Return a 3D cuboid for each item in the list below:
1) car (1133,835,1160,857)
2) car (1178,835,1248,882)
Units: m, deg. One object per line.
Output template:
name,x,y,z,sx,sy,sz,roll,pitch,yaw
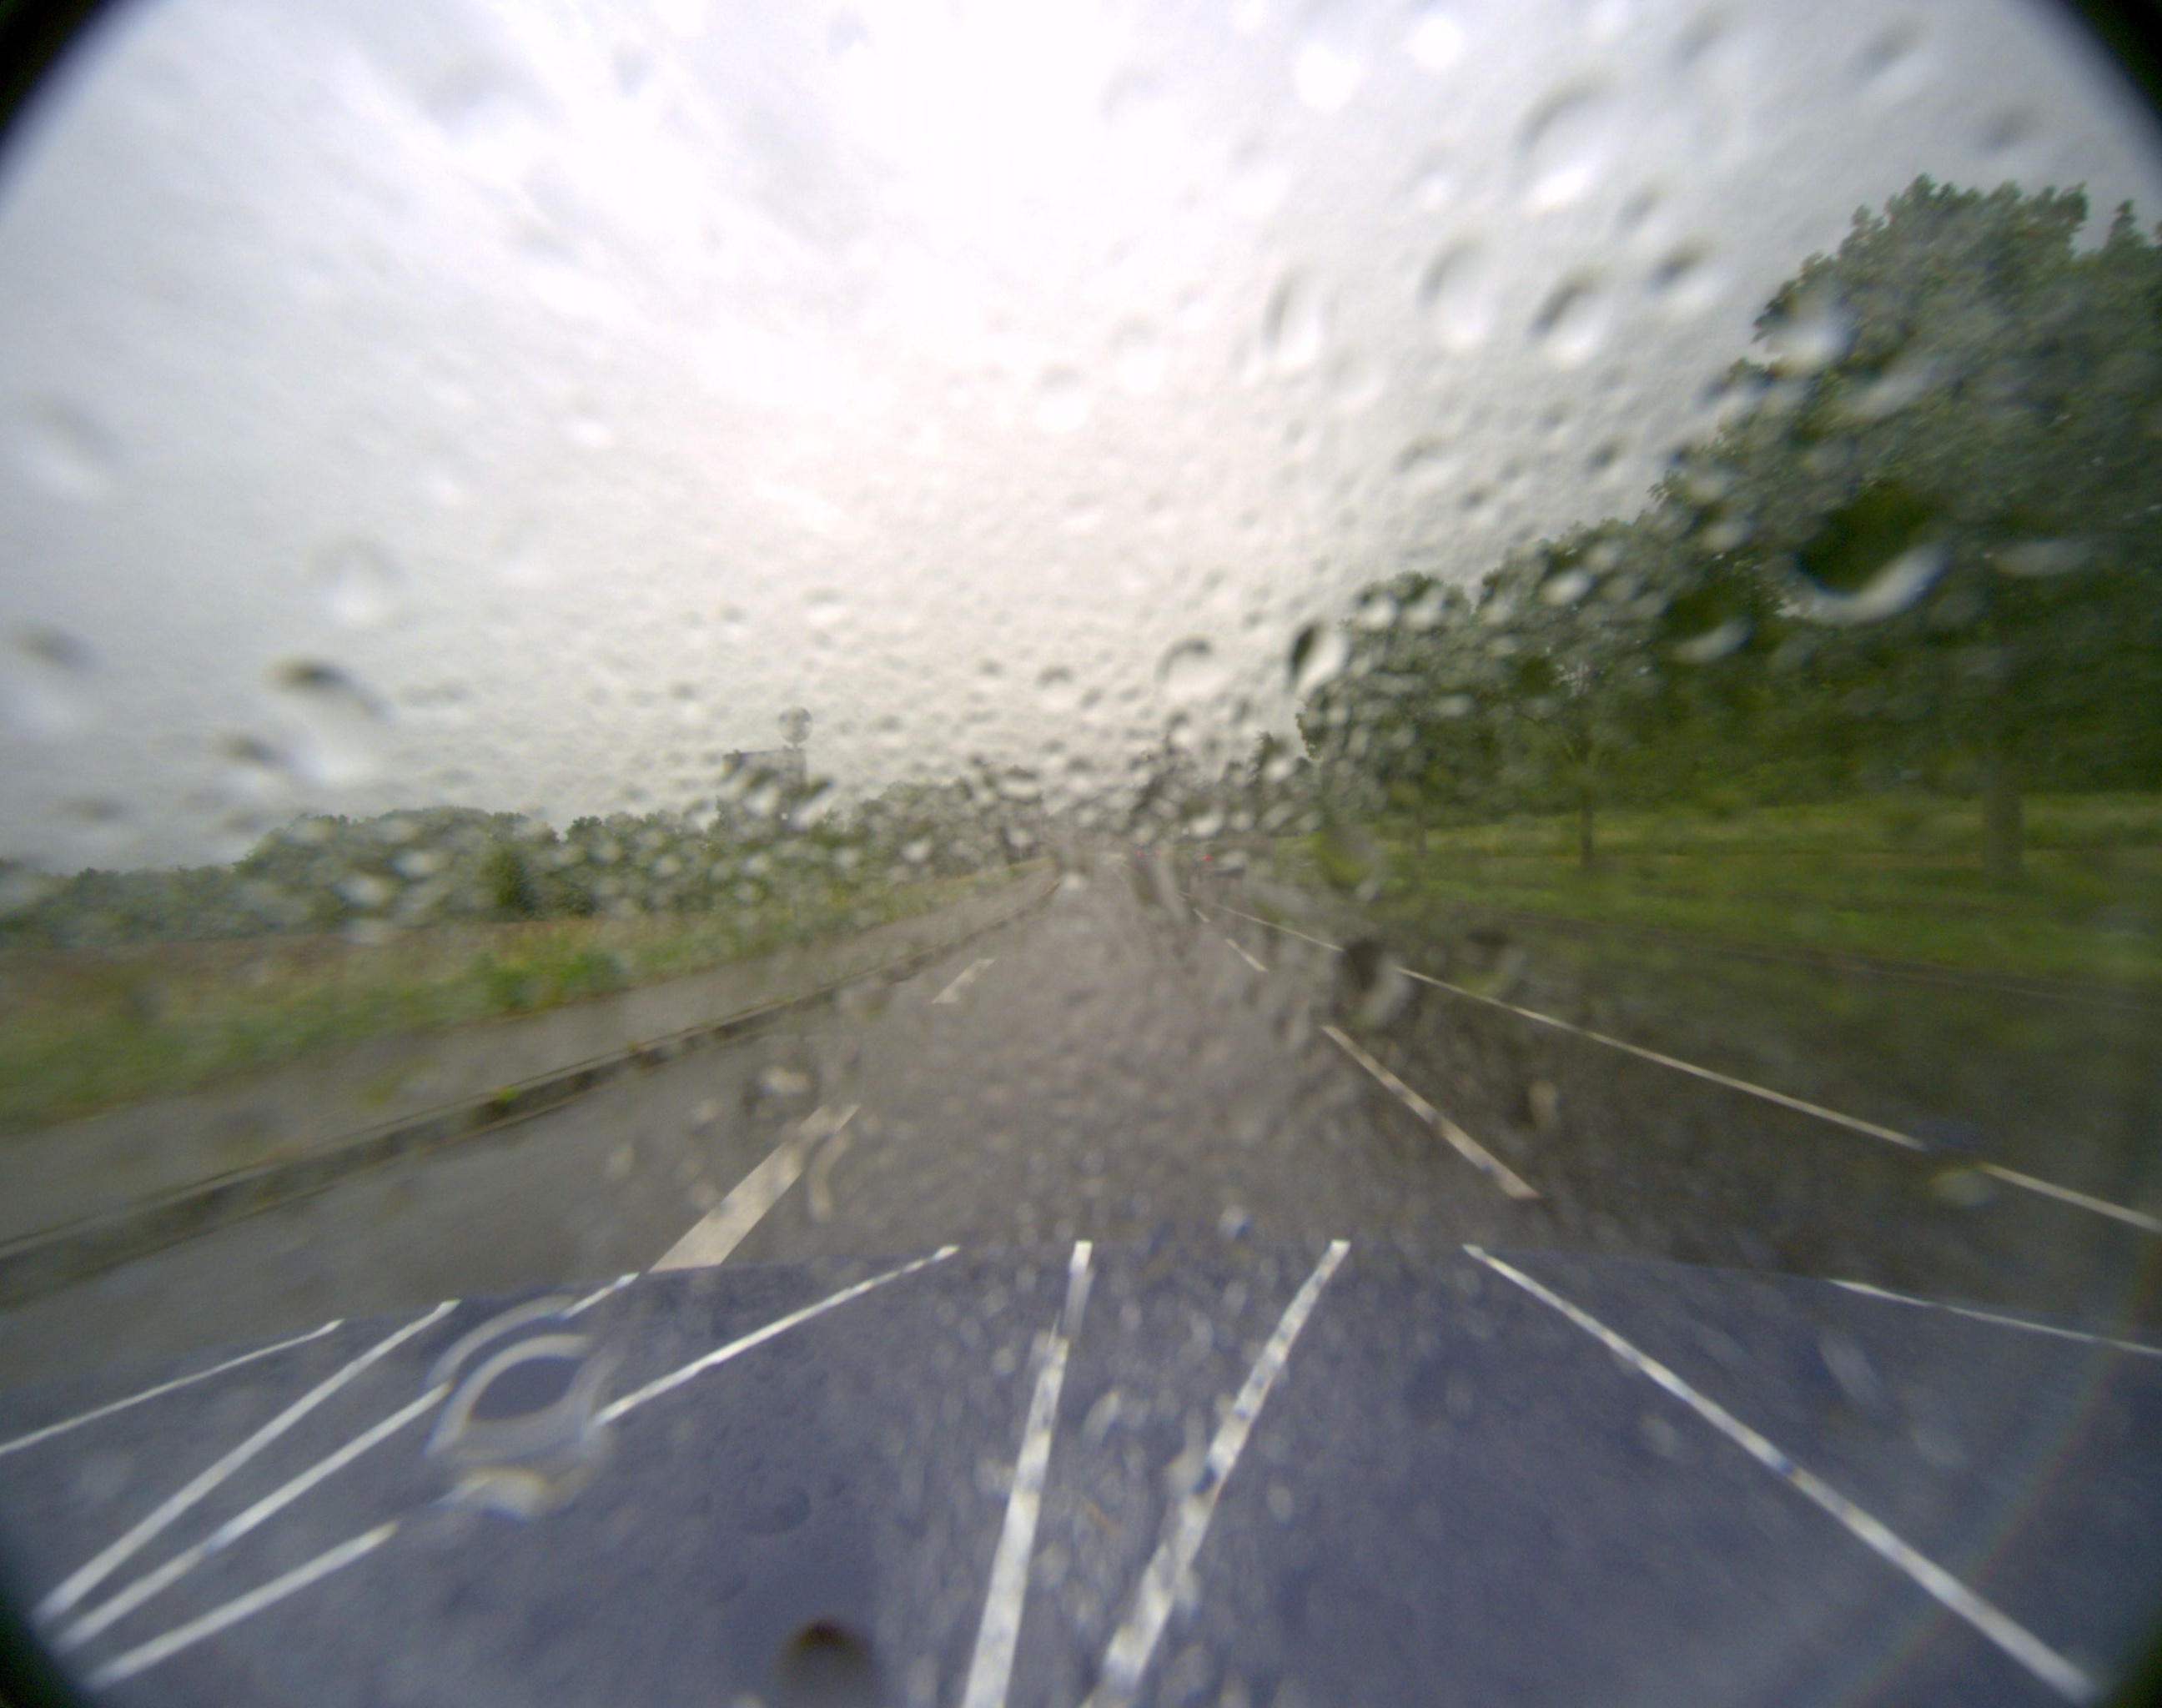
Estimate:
car,5.358,-0.660,62.384,1.746,1.694,4.221,-2,1,-1
car,5.264,0.127,30.917,1.929,1.733,4.286,-2,1,-2
